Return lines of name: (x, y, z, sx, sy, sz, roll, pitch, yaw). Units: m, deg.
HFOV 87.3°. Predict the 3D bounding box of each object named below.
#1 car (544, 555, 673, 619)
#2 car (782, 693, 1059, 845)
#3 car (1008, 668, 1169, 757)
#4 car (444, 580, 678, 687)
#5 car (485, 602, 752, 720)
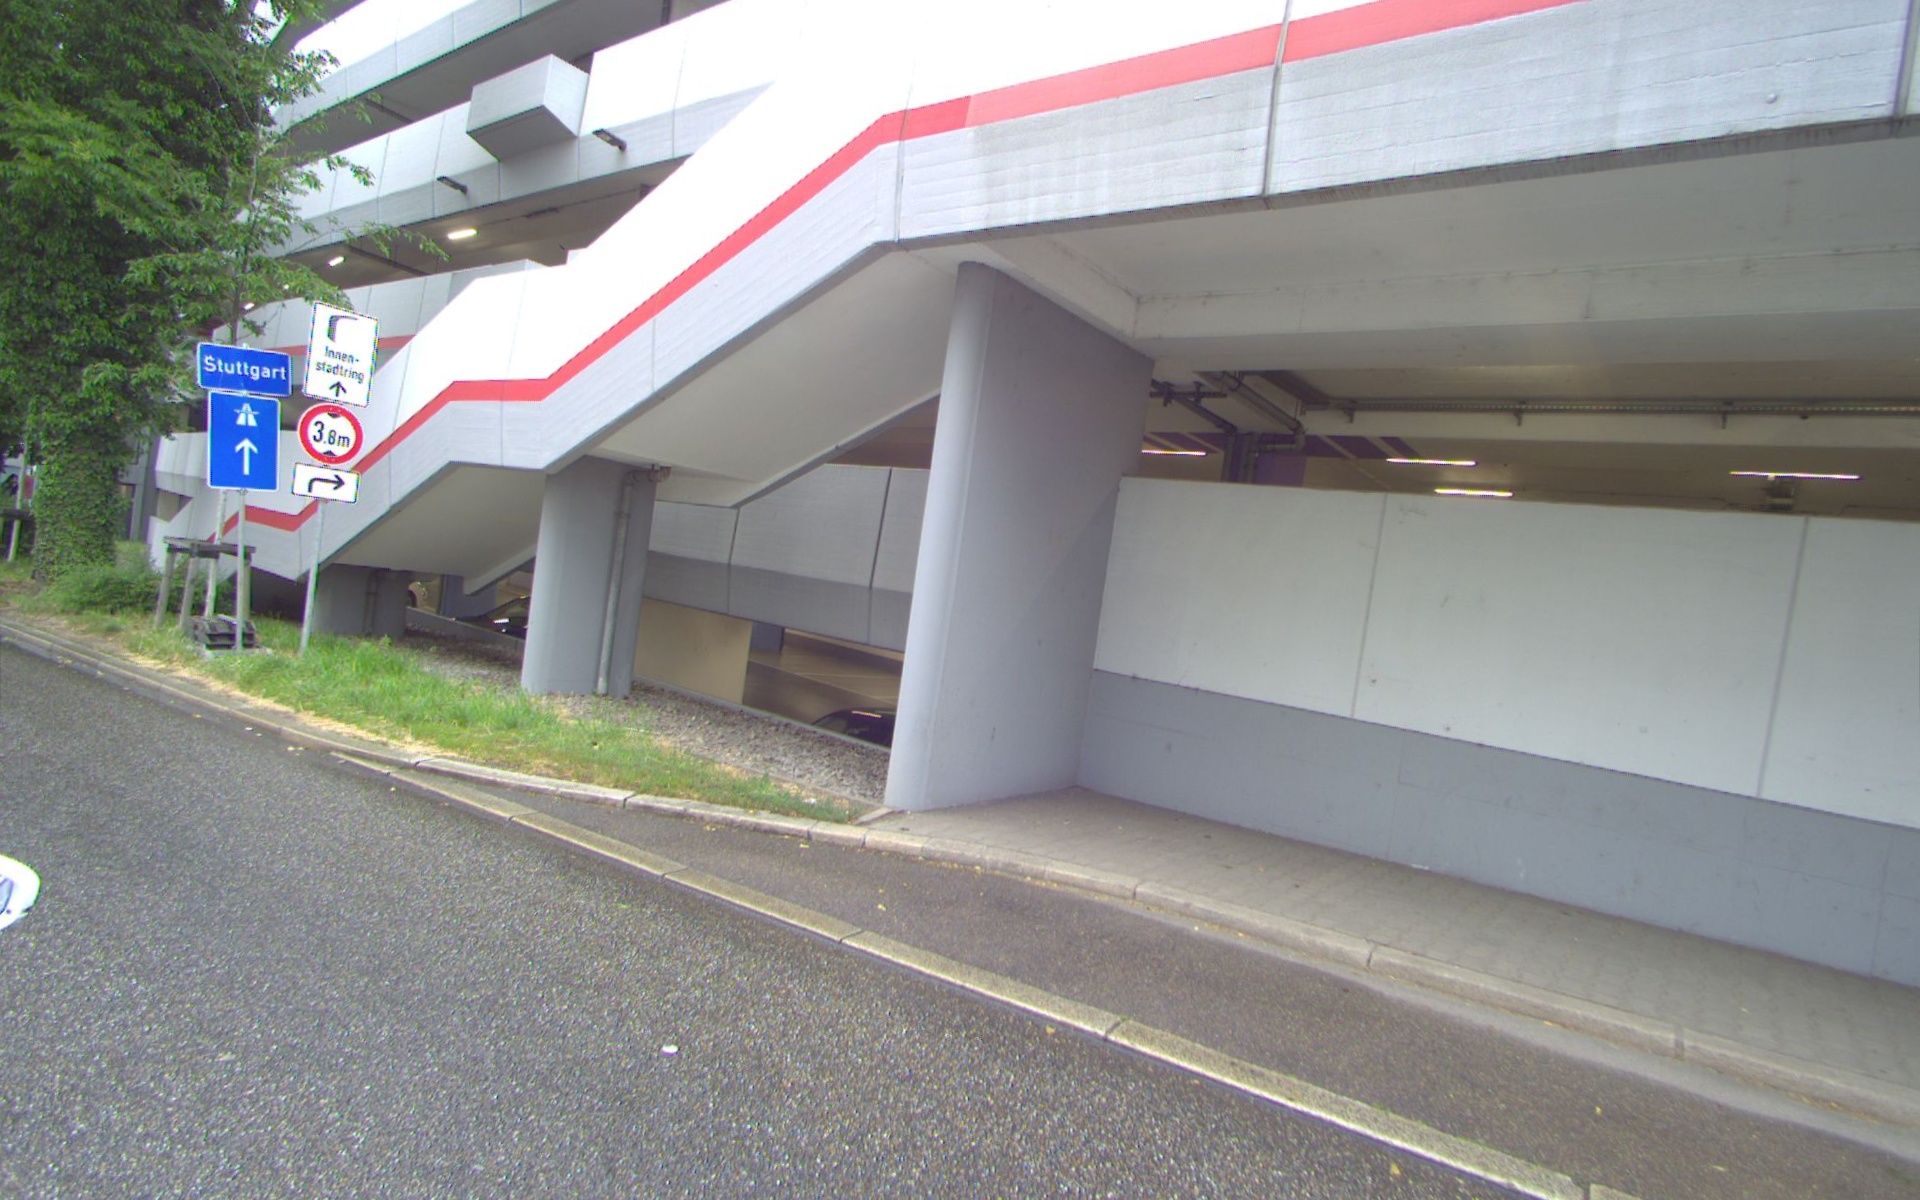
car: (-12.955, -0.460, 37.194, 1.792, 1.804, 3.979, 7, 0, 44)
car: (-0.442, 2.352, 14.737, 1.810, 1.559, 3.931, 11, 2, 37)
car: (3.095, 2.620, 23.583, 1.810, 1.559, 3.988, 11, 2, 37)
car: (-7.712, 0.710, 19.714, 1.782, 1.559, 3.734, 11, 2, 37)
car: (-5.840, 1.128, 17.625, 1.810, 1.643, 3.988, 7, -1, 36)
